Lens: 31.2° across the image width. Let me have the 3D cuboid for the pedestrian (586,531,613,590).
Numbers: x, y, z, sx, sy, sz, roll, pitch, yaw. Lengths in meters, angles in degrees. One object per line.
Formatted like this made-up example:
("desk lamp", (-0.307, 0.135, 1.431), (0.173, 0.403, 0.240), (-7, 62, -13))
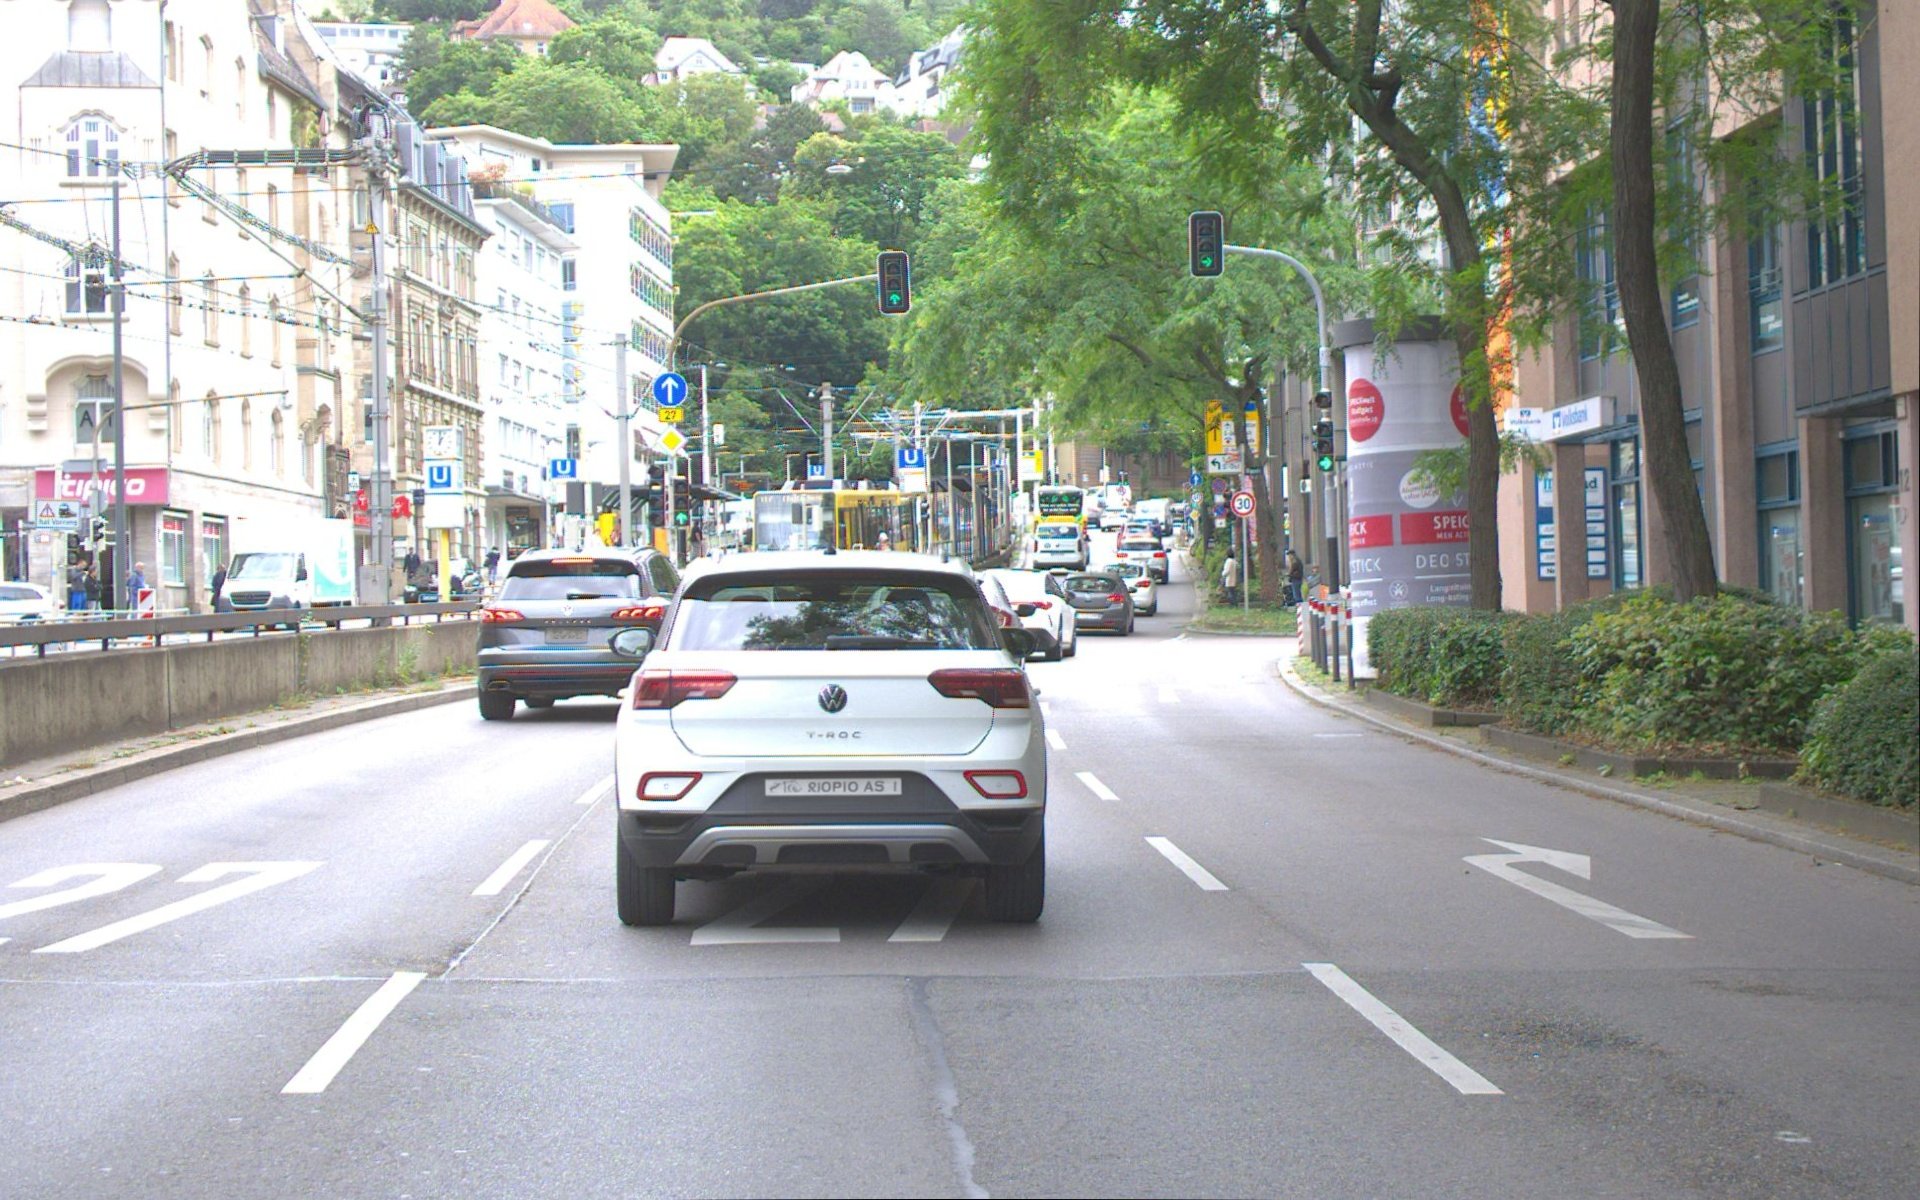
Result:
("pedestrian", (-10.593, -1.170, 101.020), (0.688, 1.705, 0.662), (-1, 1, 3))

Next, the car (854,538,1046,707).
("car", (-0.164, 0.209, 36.533), (1.884, 1.678, 4.161), (0, 0, -2))

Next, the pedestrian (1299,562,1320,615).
("pedestrian", (8.864, -0.295, 87.209), (0.471, 1.329, 0.520), (0, 0, 0))

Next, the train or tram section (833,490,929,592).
("train or tram section", (-2.739, -2.104, 121.458), (2.835, 3.509, 5.751), (0, 1, 4))

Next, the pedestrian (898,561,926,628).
("pedestrian", (-1.237, -0.136, 88.807), (0.635, 1.705, 0.871), (-1, 1, 4))

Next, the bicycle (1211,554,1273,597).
("bicycle", (8.213, -0.714, 100.058), (1.707, 1.180, 0.449), (-3, 1, -3))

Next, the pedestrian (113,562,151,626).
("pedestrian", (-21.756, -0.153, 90.307), (0.674, 1.671, 0.690), (-1, 1, 22))

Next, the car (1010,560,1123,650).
("car", (2.529, 0.098, 80.224), (2.365, 2.007, 5.147), (0, 0, 5))

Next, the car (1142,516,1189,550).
("car", (10.555, -3.429, 176.335), (1.885, 1.678, 4.159), (0, 0, 10))

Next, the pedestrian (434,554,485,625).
("pedestrian", (-12.065, -0.251, 82.884), (0.876, 1.699, 0.811), (0, 1, 33))

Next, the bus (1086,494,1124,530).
("bus", (8.549, -5.189, 202.987), (1.993, 2.007, 4.000), (0, 0, -1))

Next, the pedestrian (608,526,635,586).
("pedestrian", (-10.089, -1.312, 102.361), (0.627, 1.756, 0.846), (-1, 1, 5))

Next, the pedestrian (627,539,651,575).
("pedestrian", (-10.217, -1.374, 109.461), (0.635, 1.104, 0.690), (-1, 1, 4))

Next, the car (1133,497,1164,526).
("car", (10.636, -4.996, 194.005), (1.673, 1.555, 3.678), (0, 0, 4))

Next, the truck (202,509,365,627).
("truck", (-18.234, -0.848, 93.058), (2.267, 3.066, 7.373), (0, 0, 6))

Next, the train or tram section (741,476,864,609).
("train or tram section", (-4.472, -1.668, 98.464), (2.835, 3.666, 5.751), (0, 1, 4))

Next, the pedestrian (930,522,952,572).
("pedestrian", (-0.651, -1.818, 119.098), (0.718, 1.725, 0.670), (0, 0, 5))

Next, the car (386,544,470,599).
("car", (-17.287, -0.930, 111.904), (1.673, 1.753, 4.781), (0, 0, 4))

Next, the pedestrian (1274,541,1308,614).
("pedestrian", (8.483, -0.584, 88.154), (0.721, 1.796, 0.834), (-3, 3, 0))

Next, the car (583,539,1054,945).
("car", (-0.650, 0.542, 15.509), (1.837, 1.578, 4.157), (0, 0, -3))

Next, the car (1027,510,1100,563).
("car", (4.058, -2.459, 133.980), (2.365, 2.007, 5.147), (0, 0, 7))

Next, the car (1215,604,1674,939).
("car", (2.407, 0.803, 18.046), (1.944, 1.525, 4.000), (0, 0, 2))

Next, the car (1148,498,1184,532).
("car", (12.630, -5.211, 210.985), (1.993, 2.007, 4.000), (0, 0, 0))

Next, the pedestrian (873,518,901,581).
("pedestrian", (-1.990, -1.375, 94.168), (0.685, 1.705, 0.712), (-1, 1, 4))

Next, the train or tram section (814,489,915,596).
("train or tram section", (-3.169, -1.968, 115.716), (2.835, 3.509, 5.751), (0, 1, 4))

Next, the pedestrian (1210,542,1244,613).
("pedestrian", (6.951, -0.586, 89.522), (0.693, 1.771, 0.689), (-5, 1, 0))

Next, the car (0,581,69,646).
("car", (-23.726, 0.318, 81.929), (4.500, 1.555, 1.754), (0, 0, -36))

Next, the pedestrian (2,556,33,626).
("pedestrian", (-23.974, -0.236, 87.457), (0.575, 1.774, 0.511), (-1, 0, 9))

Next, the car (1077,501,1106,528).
("car", (8.055, -5.236, 210.098), (1.673, 1.555, 3.986), (0, 0, 4))

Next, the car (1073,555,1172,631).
("car", (4.383, -0.212, 93.589), (2.364, 2.007, 5.148), (0, 0, -1))

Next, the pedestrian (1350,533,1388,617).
("pedestrian", (9.916, -0.606, 83.341), (0.835, 2.007, 0.764), (0, 0, 0))

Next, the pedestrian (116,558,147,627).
("pedestrian", (-21.479, -0.203, 89.135), (0.510, 1.774, 0.576), (-1, 0, 18))

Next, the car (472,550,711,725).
("car", (-3.627, 0.324, 34.485), (1.993, 1.630, 4.000), (0, 1, -1))

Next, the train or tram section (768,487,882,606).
("train or tram section", (-4.050, -1.649, 104.216), (2.835, 3.509, 5.751), (0, 1, 4))

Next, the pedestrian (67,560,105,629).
("pedestrian", (-22.533, -0.147, 88.631), (0.710, 1.774, 0.595), (-1, 0, 20))

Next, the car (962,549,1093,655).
("car", (1.074, 0.017, 56.823), (1.884, 1.678, 4.161), (0, 0, -3))

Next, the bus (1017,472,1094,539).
("bus", (4.791, -4.608, 170.031), (3.372, 3.054, 13.323), (0, 0, 4))

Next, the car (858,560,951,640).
("car", (-1.246, -0.012, 75.124), (1.884, 1.678, 4.161), (0, 0, -3))

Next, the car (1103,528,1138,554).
("car", (7.542, -2.776, 161.452), (1.582, 1.168, 3.678), (0, 0, 4))

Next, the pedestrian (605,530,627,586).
("pedestrian", (-10.515, -1.279, 105.108), (0.635, 1.705, 0.690), (-1, 1, -5))

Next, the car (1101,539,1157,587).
("car", (5.997, -1.310, 121.635), (1.885, 1.678, 4.160), (0, 0, 4))
